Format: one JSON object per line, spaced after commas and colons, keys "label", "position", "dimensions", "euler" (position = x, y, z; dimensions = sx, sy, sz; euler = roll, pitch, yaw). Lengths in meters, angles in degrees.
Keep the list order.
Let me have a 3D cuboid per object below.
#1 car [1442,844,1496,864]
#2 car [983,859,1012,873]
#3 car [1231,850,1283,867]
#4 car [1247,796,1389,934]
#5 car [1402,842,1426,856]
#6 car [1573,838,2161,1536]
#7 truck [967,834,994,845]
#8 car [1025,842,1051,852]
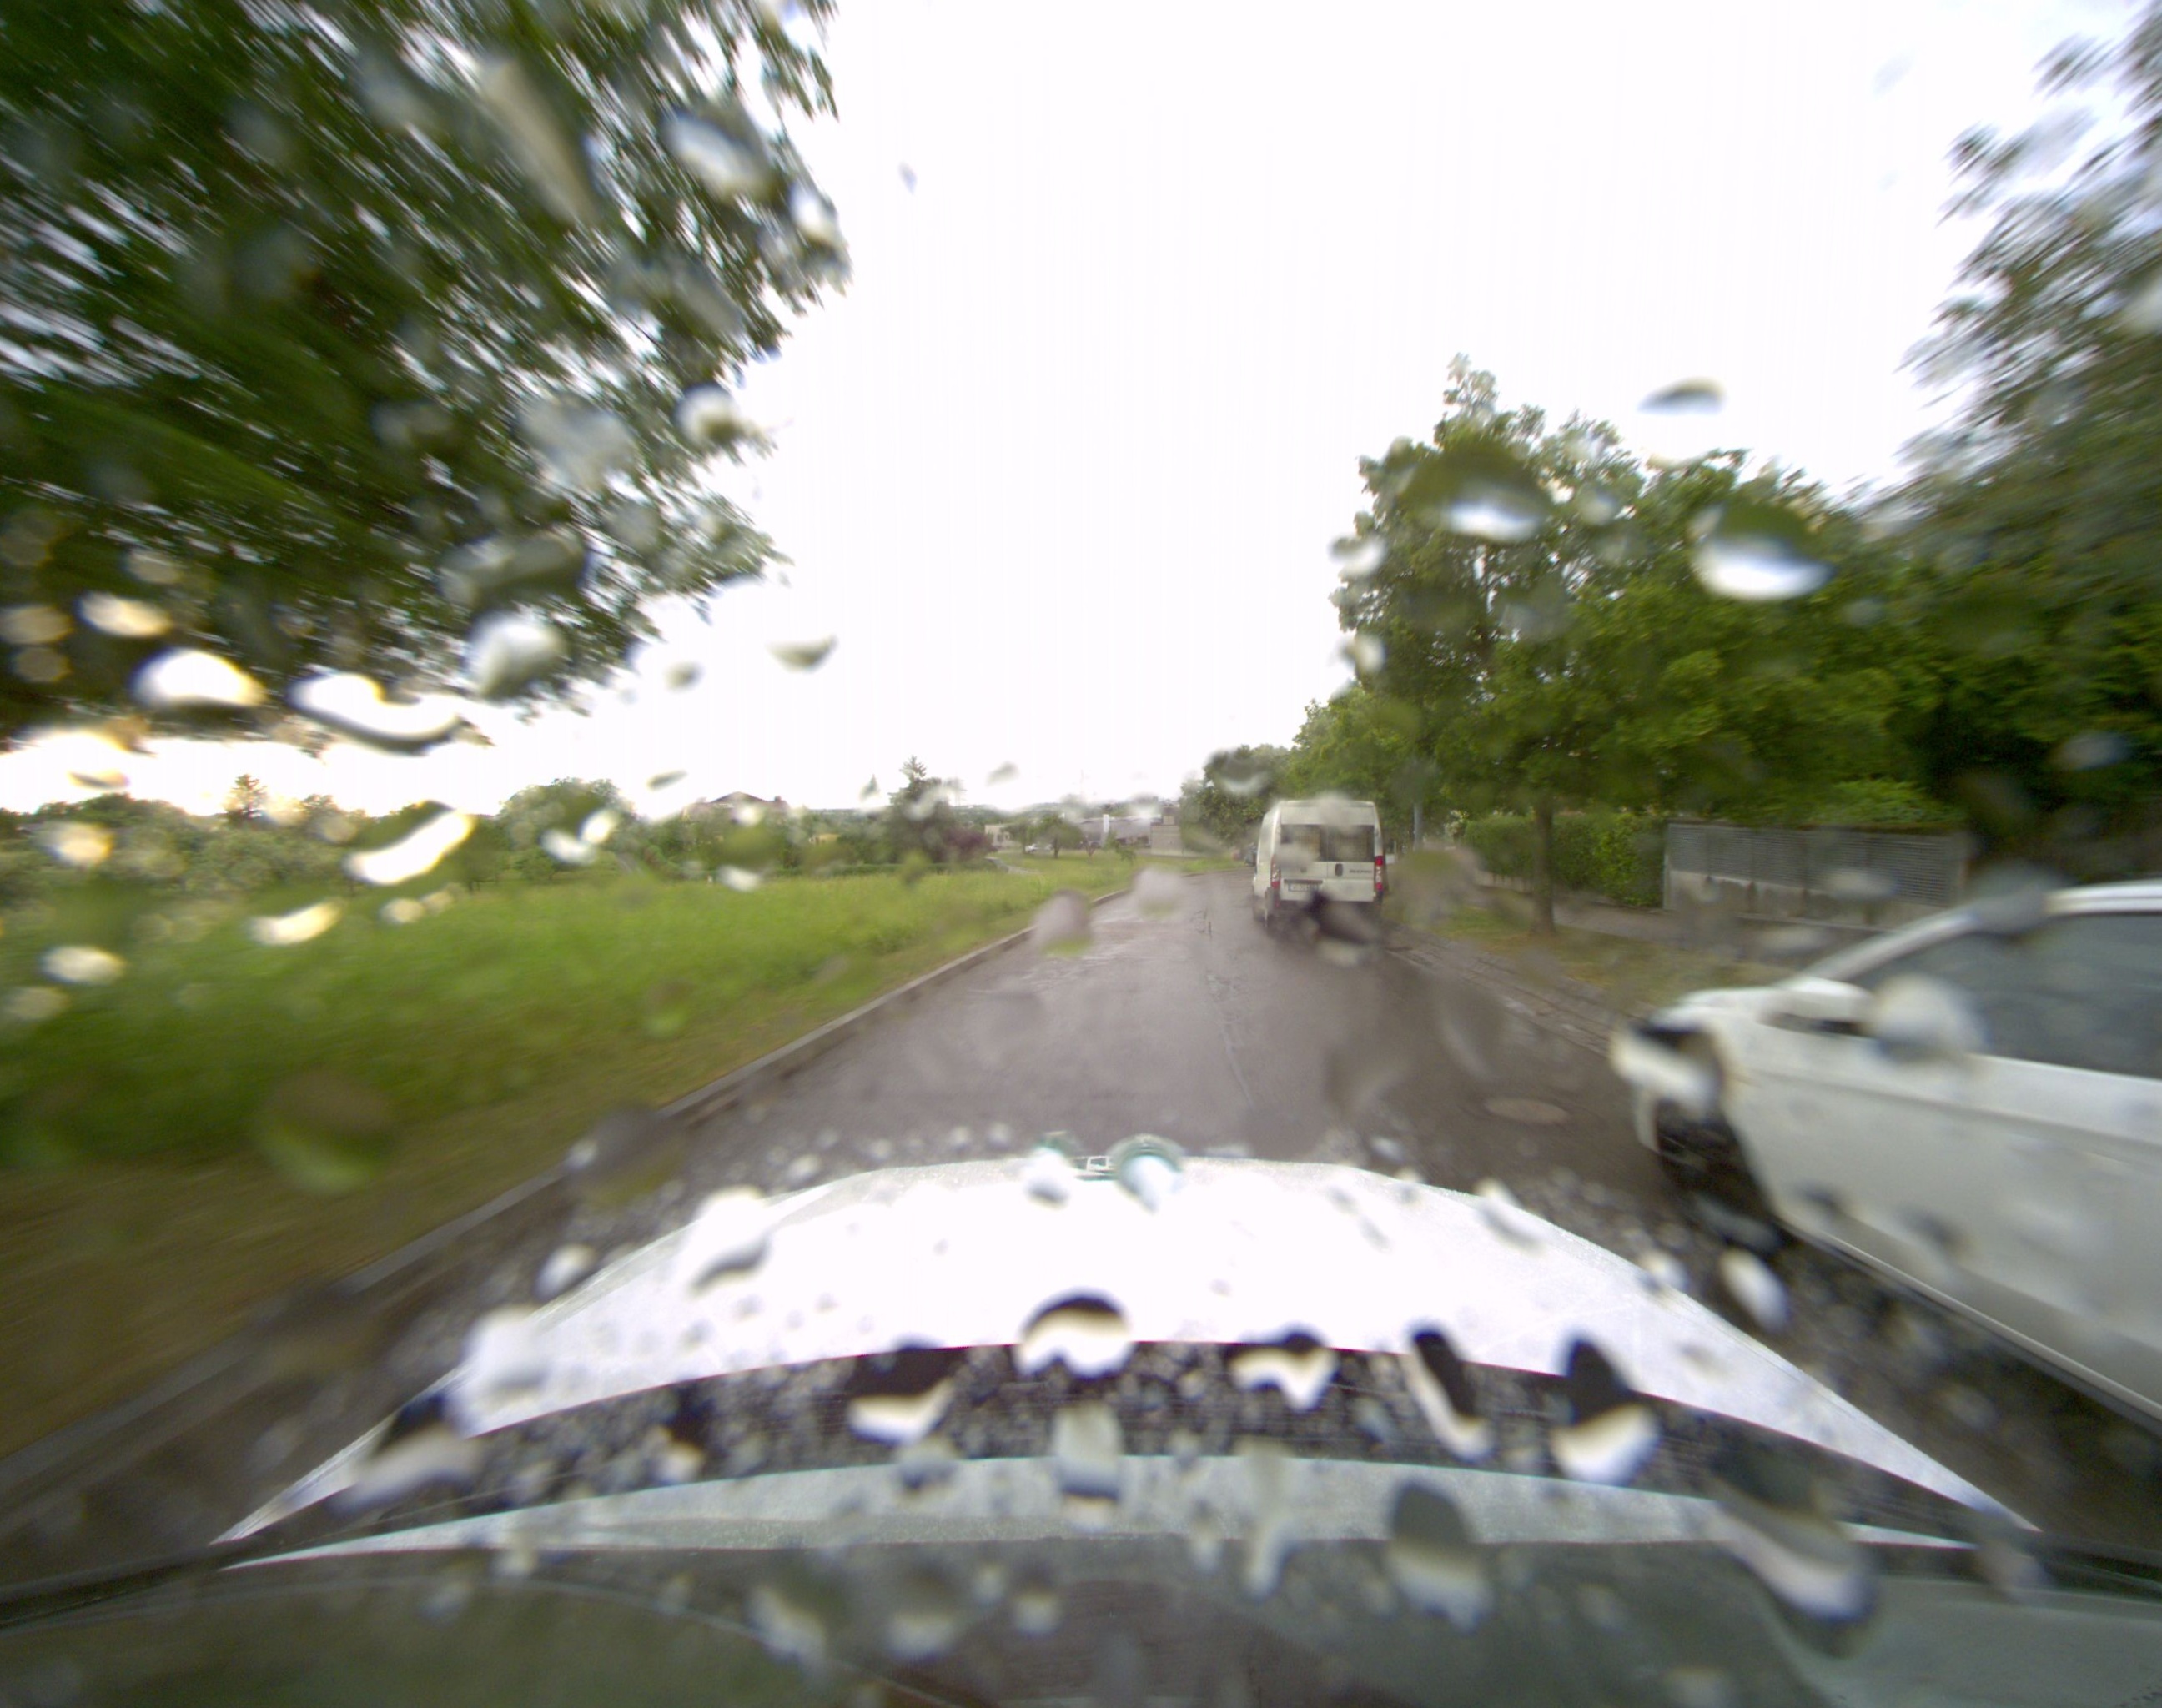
{"label": "car", "position": [33.314, -0.017, 69.932], "dimensions": [4.055, 1.566, 2.012], "euler": [-2, -1, 29]}
{"label": "car", "position": [-10.363, 1.456, 100.720], "dimensions": [1.789, 1.596, 3.957], "euler": [-2, 1, -35]}
{"label": "car", "position": [15.477, 0.371, 71.742], "dimensions": [4.128, 1.355, 1.873], "euler": [-2, 0, 24]}
{"label": "car", "position": [4.831, 0.197, 17.444], "dimensions": [2.106, 2.467, 5.522], "euler": [-1, 0, 8]}
{"label": "car", "position": [39.577, -0.644, 96.867], "dimensions": [1.670, 1.551, 3.721], "euler": [1, 3, 39]}
{"label": "car", "position": [3.147, 0.708, 2.160], "dimensions": [1.599, 1.502, 3.730], "euler": [-1, 0, 3]}
{"label": "truck", "position": [-22.147, -3.218, 178.772], "dimensions": [5.343, 2.308, 2.413], "euler": [0, 2, -29]}
{"label": "car", "position": [-7.729, -1.185, 145.448], "dimensions": [4.287, 1.701, 1.781], "euler": [0, 2, -29]}
